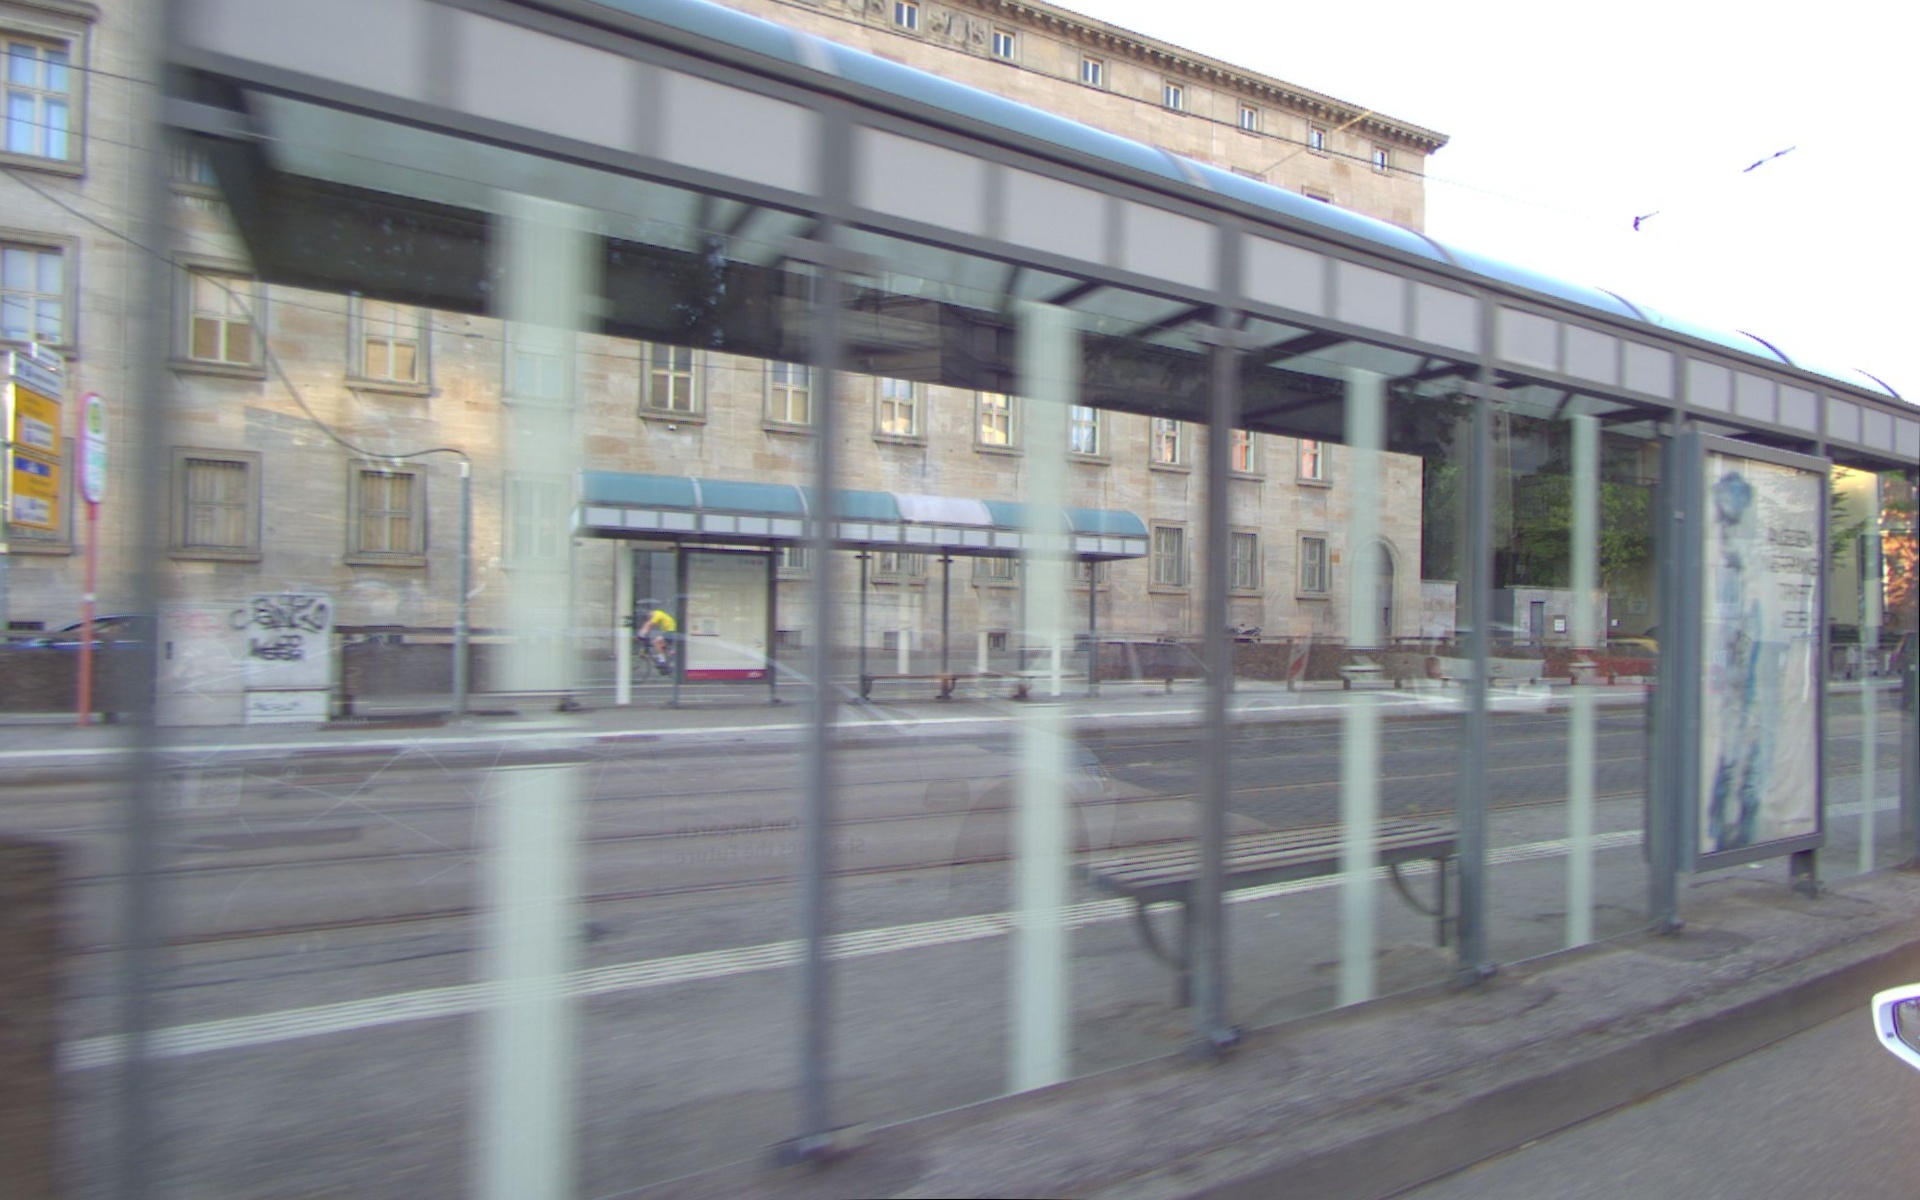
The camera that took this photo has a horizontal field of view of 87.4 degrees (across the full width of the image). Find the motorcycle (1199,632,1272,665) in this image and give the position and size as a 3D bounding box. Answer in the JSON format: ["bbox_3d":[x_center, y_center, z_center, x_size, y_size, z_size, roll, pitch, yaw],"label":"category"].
[{"bbox_3d":[9.429,1.666,34.307,2.619,1.089,0.696,2,-2,-26],"label":"motorcycle"}]

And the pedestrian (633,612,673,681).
[{"bbox_3d":[-6.726,1.005,21.995,0.766,1.490,0.472,1,-1,-26],"label":"pedestrian"}]

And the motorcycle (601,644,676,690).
[{"bbox_3d":[-6.975,1.448,21.837,1.490,0.940,0.475,2,-1,-26],"label":"motorcycle"}]

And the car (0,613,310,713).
[{"bbox_3d":[-12.823,0.979,16.246,3.656,1.446,1.637,2,-1,-26],"label":"car"}]
